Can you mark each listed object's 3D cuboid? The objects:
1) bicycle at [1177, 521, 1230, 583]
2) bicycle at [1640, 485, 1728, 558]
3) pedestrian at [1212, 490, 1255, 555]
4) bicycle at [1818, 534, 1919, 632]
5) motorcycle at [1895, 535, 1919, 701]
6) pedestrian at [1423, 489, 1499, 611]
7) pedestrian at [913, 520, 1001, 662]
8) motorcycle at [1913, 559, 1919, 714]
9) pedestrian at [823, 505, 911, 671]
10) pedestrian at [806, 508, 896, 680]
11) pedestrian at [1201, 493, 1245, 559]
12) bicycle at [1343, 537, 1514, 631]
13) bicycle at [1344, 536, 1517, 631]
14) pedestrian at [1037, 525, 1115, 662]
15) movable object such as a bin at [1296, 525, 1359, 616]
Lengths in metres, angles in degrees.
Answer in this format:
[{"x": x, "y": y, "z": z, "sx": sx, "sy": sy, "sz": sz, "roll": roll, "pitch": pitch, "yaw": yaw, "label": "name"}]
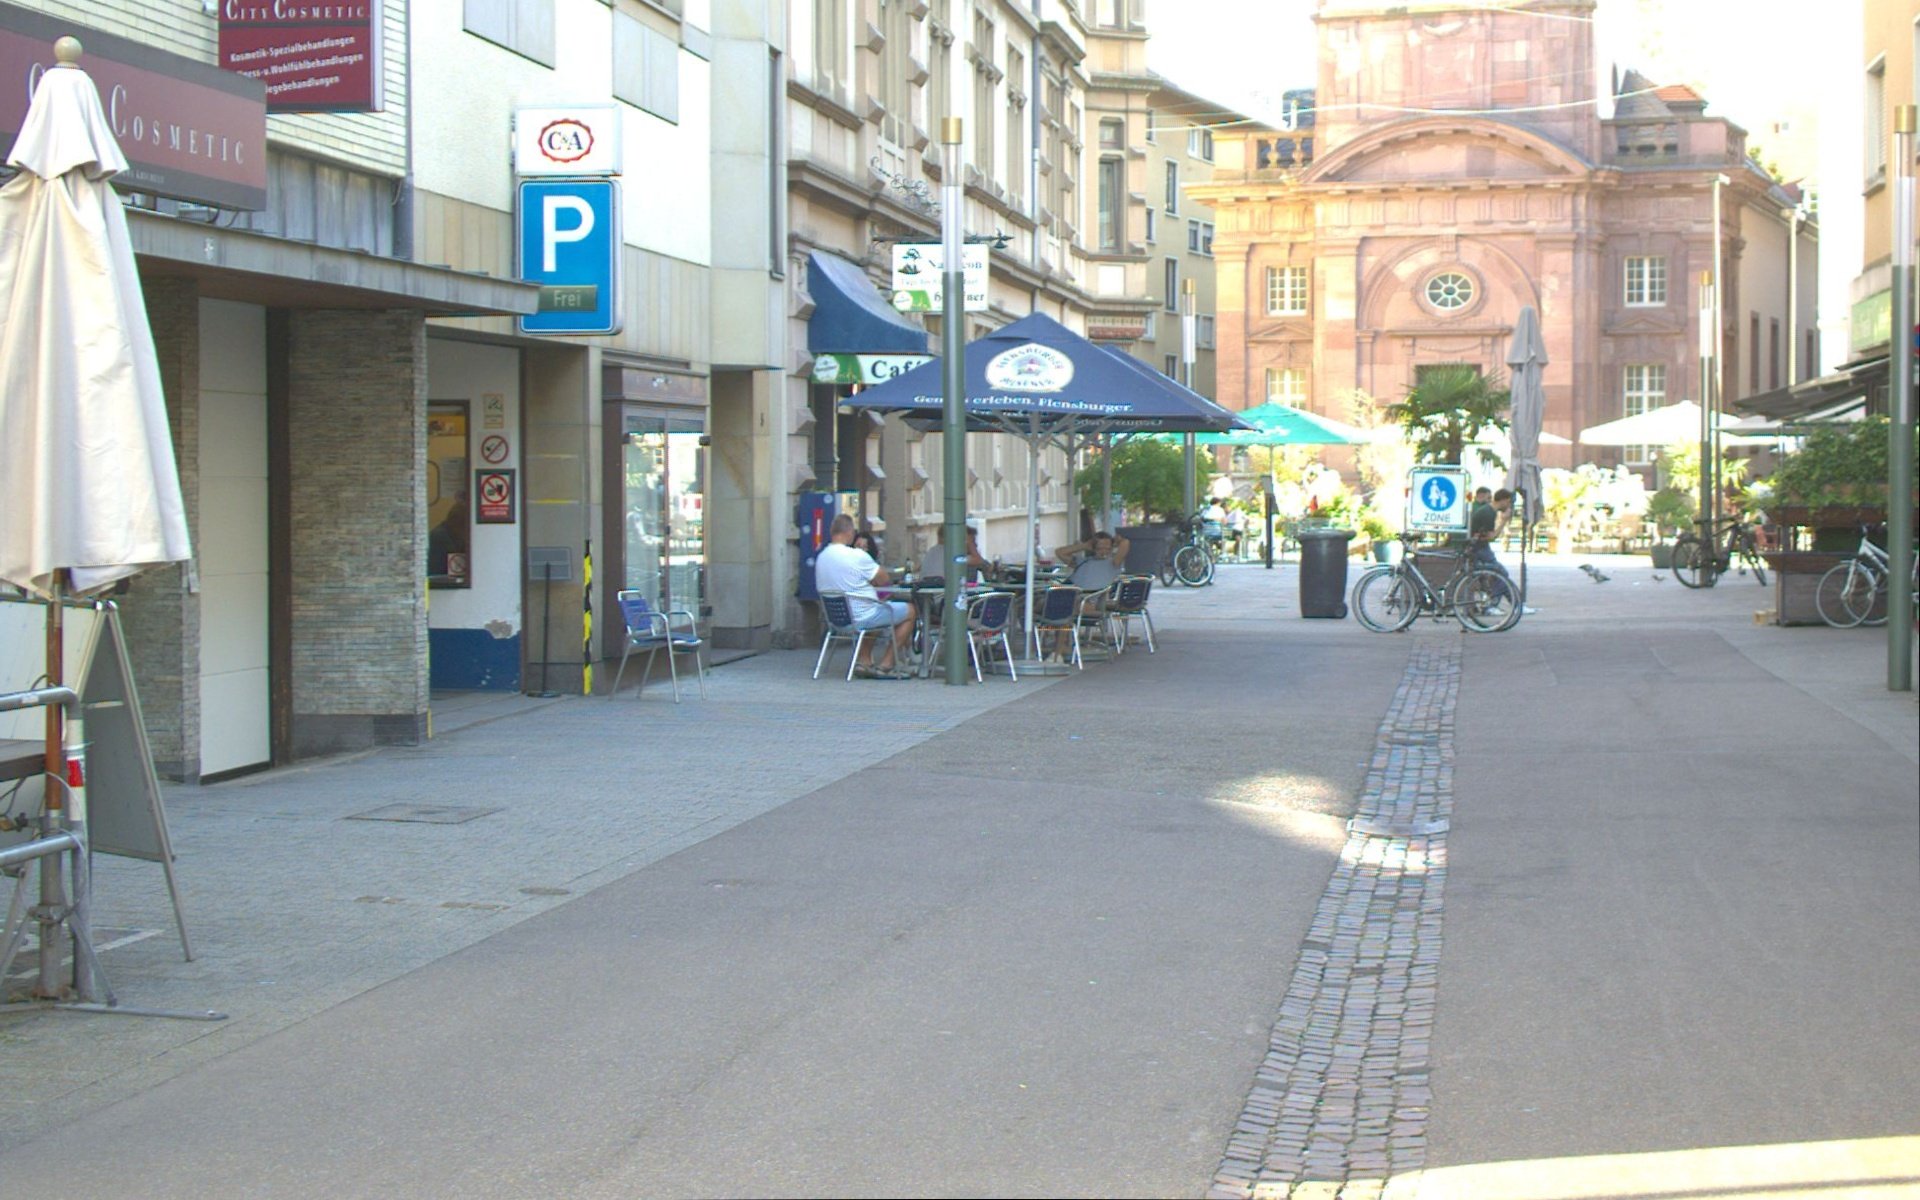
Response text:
[{"x": 3.533, "y": -0.703, "z": 49.762, "sx": 0.457, "sy": 0.847, "sz": 2.145, "roll": 1, "pitch": 2, "yaw": 12, "label": "bicycle"}, {"x": 13.046, "y": -1.420, "z": 61.975, "sx": 1.585, "sy": 1.303, "sz": 0.366, "roll": -1, "pitch": 2, "yaw": -20, "label": "bicycle"}, {"x": 5.207, "y": -1.481, "z": 65.373, "sx": 0.701, "sy": 1.213, "sz": 0.719, "roll": 1, "pitch": 2, "yaw": 14, "label": "pedestrian"}, {"x": 9.778, "y": -0.185, "z": 36.104, "sx": 1.464, "sy": 1.001, "sz": 0.572, "roll": 1, "pitch": 2, "yaw": 16, "label": "bicycle"}, {"x": 7.420, "y": 0.128, "z": 24.379, "sx": 1.485, "sy": 1.177, "sz": 0.412, "roll": 0, "pitch": 2, "yaw": 24, "label": "motorcycle"}, {"x": 6.075, "y": -0.614, "z": 41.649, "sx": 0.884, "sy": 1.459, "sz": 0.730, "roll": 0, "pitch": 2, "yaw": 9, "label": "pedestrian"}, {"x": -0.019, "y": -0.086, "z": 30.420, "sx": 0.765, "sy": 1.229, "sz": 0.831, "roll": 0, "pitch": 2, "yaw": 1, "label": "pedestrian"}, {"x": 7.338, "y": 0.253, "z": 23.584, "sx": 1.486, "sy": 1.072, "sz": 0.411, "roll": 0, "pitch": 2, "yaw": 27, "label": "motorcycle"}, {"x": -0.781, "y": -0.110, "z": 28.764, "sx": 0.717, "sy": 1.363, "sz": 0.710, "roll": 0, "pitch": 2, "yaw": -3, "label": "pedestrian"}, {"x": -0.881, "y": -0.058, "z": 27.669, "sx": 0.708, "sy": 1.363, "sz": 0.720, "roll": 0, "pitch": 2, "yaw": -3, "label": "pedestrian"}, {"x": 4.890, "y": -1.373, "z": 63.977, "sx": 0.701, "sy": 1.213, "sz": 0.719, "roll": 1, "pitch": 2, "yaw": 14, "label": "pedestrian"}, {"x": 5.108, "y": -0.182, "z": 37.540, "sx": 1.824, "sy": 1.001, "sz": 0.381, "roll": 0, "pitch": 2, "yaw": 6, "label": "bicycle"}, {"x": 5.074, "y": -0.180, "z": 37.142, "sx": 1.824, "sy": 1.001, "sz": 0.381, "roll": 0, "pitch": 2, "yaw": 6, "label": "bicycle"}, {"x": 1.040, "y": -0.065, "z": 30.931, "sx": 0.692, "sy": 1.211, "sz": 0.583, "roll": 0, "pitch": 2, "yaw": 1, "label": "pedestrian"}, {"x": 4.348, "y": -0.352, "z": 40.663, "sx": 0.721, "sy": 1.071, "sz": 0.374, "roll": 0, "pitch": 2, "yaw": 7, "label": "movable object such as a bin"}]
